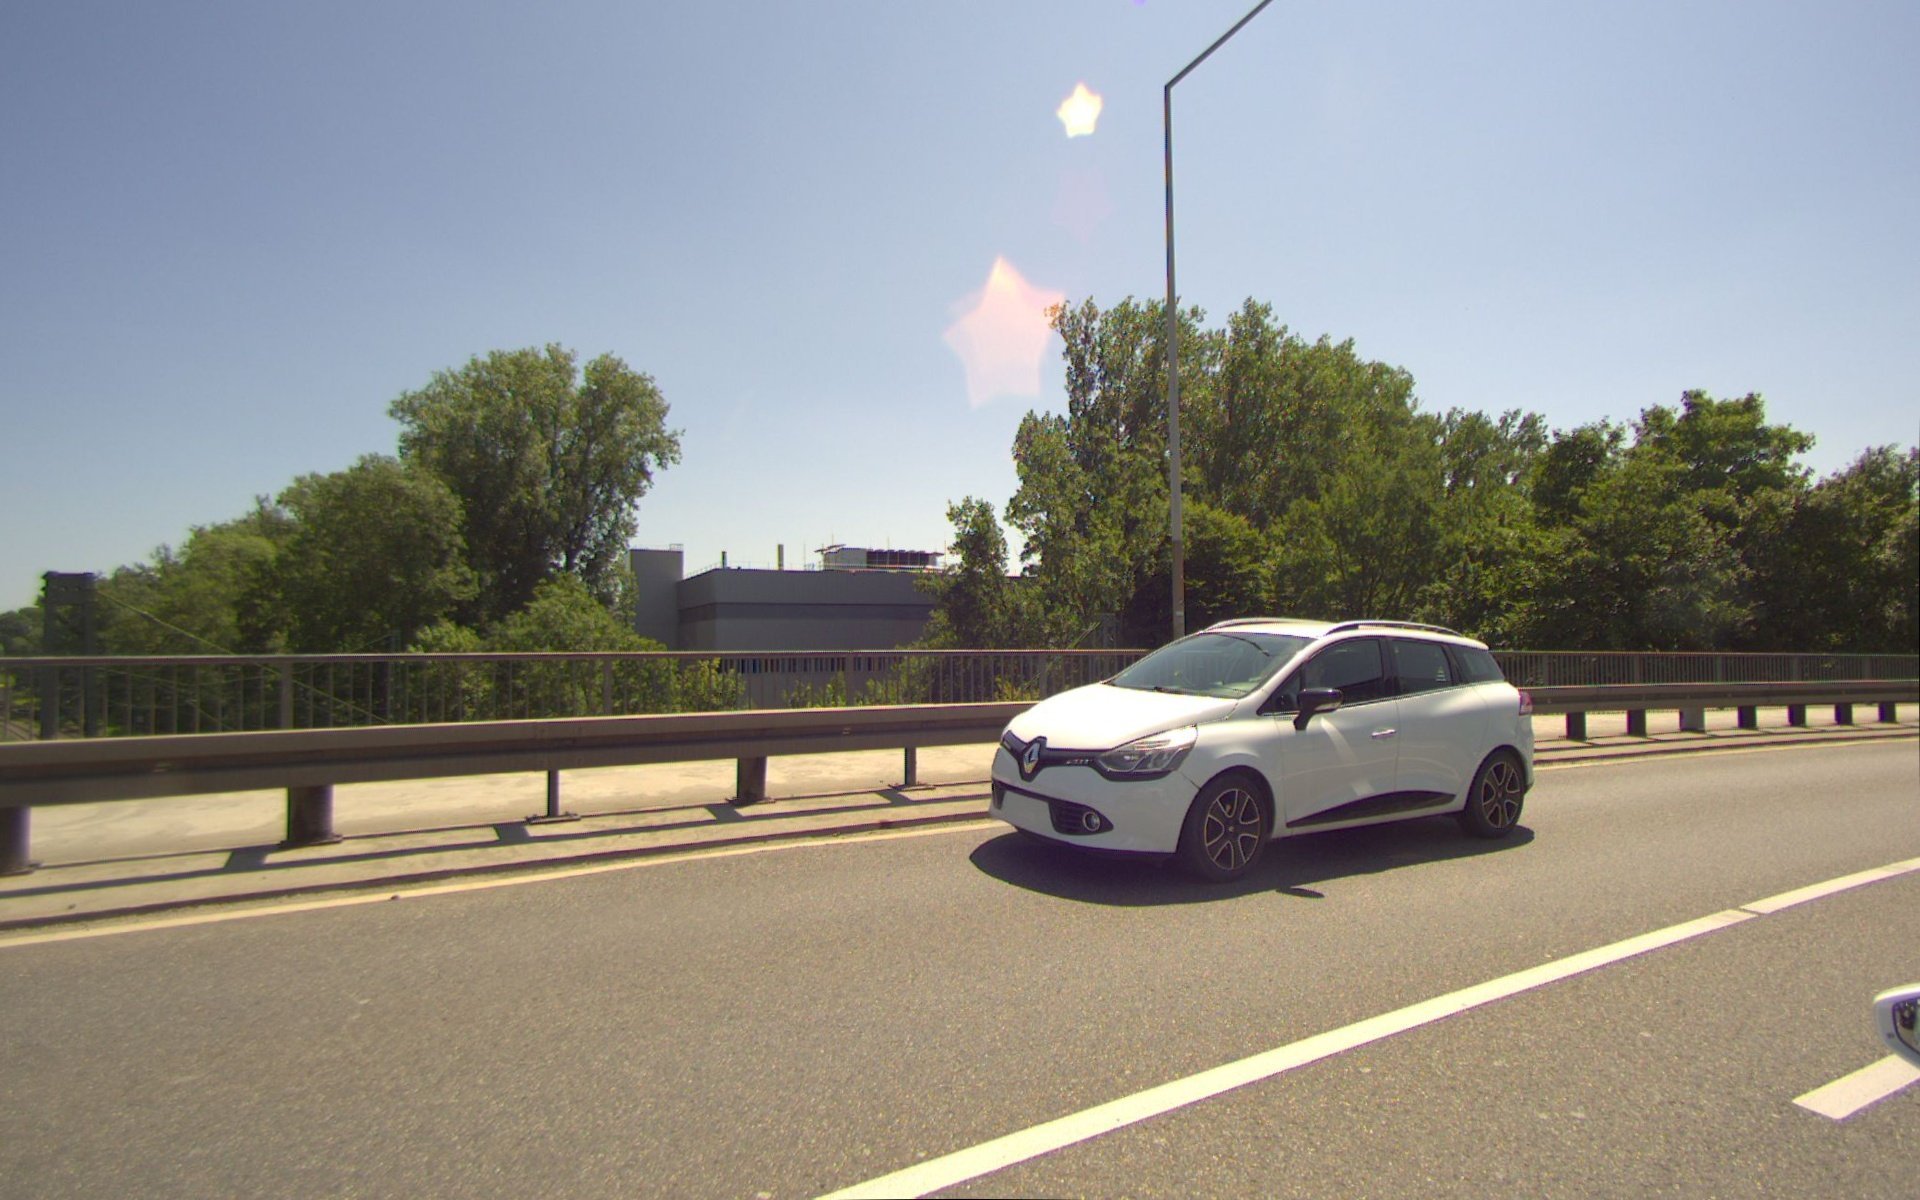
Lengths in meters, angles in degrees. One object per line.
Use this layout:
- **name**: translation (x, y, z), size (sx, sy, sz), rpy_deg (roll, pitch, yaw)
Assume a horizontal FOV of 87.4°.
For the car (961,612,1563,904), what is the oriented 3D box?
- **car**: translation (2.136, 0.854, 6.778), size (4.008, 1.468, 1.591), rpy_deg (2, -1, -30)
